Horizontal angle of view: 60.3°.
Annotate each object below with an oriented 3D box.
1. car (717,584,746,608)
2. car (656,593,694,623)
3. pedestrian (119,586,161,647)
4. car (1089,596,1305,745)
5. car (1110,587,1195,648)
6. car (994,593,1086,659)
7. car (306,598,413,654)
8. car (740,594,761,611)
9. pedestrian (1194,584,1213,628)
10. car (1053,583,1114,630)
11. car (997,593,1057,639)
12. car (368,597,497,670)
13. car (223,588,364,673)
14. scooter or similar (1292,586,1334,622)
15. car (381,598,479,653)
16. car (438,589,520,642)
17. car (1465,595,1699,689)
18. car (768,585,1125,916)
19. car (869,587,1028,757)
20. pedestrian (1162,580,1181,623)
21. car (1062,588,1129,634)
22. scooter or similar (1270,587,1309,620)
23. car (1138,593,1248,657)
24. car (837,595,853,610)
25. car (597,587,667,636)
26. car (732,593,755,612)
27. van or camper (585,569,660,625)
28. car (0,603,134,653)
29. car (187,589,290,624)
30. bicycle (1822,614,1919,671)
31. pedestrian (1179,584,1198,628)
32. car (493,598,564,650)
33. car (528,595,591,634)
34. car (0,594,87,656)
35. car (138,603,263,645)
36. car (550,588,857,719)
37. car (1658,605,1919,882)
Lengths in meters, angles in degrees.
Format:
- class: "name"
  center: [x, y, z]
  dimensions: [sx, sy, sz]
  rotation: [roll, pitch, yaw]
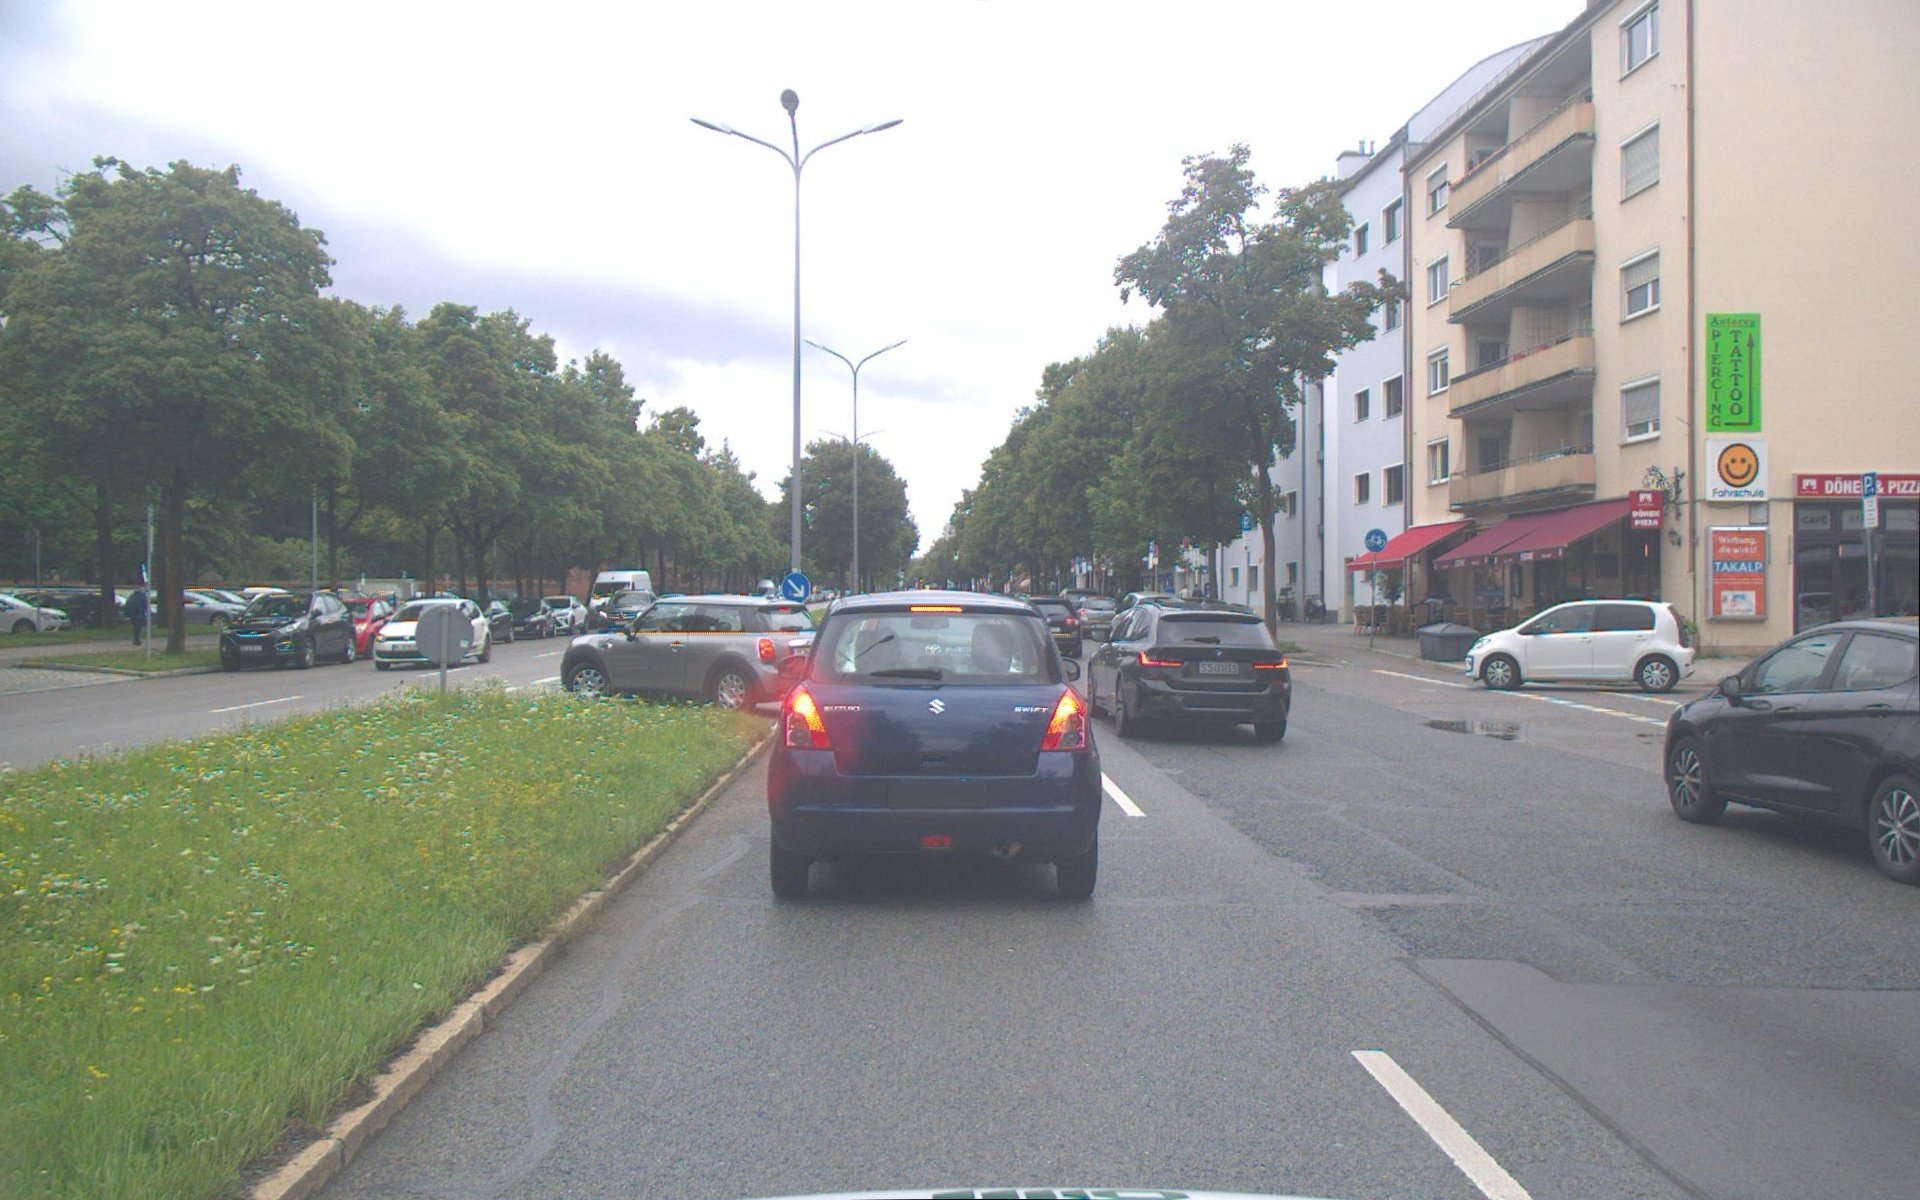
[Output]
- class: "car"
  center: [-16.134, -0.270, 116.793]
  dimensions: [1.599, 1.610, 3.877]
  rotation: [1, 0, -2]
- class: "car"
  center: [-16.122, 0.432, 93.767]
  dimensions: [1.599, 1.610, 3.877]
  rotation: [1, 0, -2]
- class: "pedestrian"
  center: [-21.500, 0.431, 43.369]
  dimensions: [0.713, 1.561, 0.721]
  rotation: [1, 0, -1]
- class: "car"
  center: [2.570, 0.712, 18.966]
  dimensions: [1.723, 1.438, 4.461]
  rotation: [1, 0, -1]
- class: "car"
  center: [5.310, 0.451, 46.082]
  dimensions: [1.756, 1.585, 4.223]
  rotation: [-1, 1, -2]
- class: "car"
  center: [1.906, 0.591, 40.523]
  dimensions: [1.697, 1.457, 4.438]
  rotation: [1, 0, -4]
- class: "car"
  center: [-15.164, 0.632, 41.908]
  dimensions: [1.559, 1.335, 3.379]
  rotation: [1, 0, -2]
- class: "car"
  center: [-19.831, 0.215, 156.627]
  dimensions: [1.599, 1.610, 3.877]
  rotation: [1, 0, -2]
- class: "pedestrian"
  center: [11.660, 0.282, 79.217]
  dimensions: [0.778, 2.049, 1.006]
  rotation: [0, 0, -1]
- class: "car"
  center: [4.711, 0.216, 63.738]
  dimensions: [1.828, 1.712, 4.222]
  rotation: [-1, 1, -3]
- class: "car"
  center: [2.156, 0.497, 53.970]
  dimensions: [1.648, 1.408, 3.917]
  rotation: [1, 0, -2]
- class: "car"
  center: [-11.207, 0.671, 35.360]
  dimensions: [1.586, 1.399, 3.836]
  rotation: [-2, 0, -2]
- class: "car"
  center: [-14.793, 0.642, 36.921]
  dimensions: [1.682, 1.771, 3.877]
  rotation: [1, 0, -2]
- class: "scooter or similar"
  center: [13.577, 0.137, 63.748]
  dimensions: [1.012, 1.330, 2.755]
  rotation: [0, 0, -1]
- class: "car"
  center: [-14.997, 0.692, 47.021]
  dimensions: [1.634, 1.471, 3.877]
  rotation: [1, 0, -2]
- class: "car"
  center: [-15.170, 0.474, 52.367]
  dimensions: [1.559, 1.585, 3.877]
  rotation: [1, 0, -2]
- class: "car"
  center: [10.260, 0.651, 27.271]
  dimensions: [3.478, 1.442, 1.870]
  rotation: [0, 1, 25]
- class: "car"
  center: [-0.135, 0.680, 9.613]
  dimensions: [1.648, 1.528, 3.917]
  rotation: [0, 0, -2]
- class: "car"
  center: [-0.159, 0.630, 16.316]
  dimensions: [1.415, 1.509, 3.105]
  rotation: [0, 0, -2]
- class: "pedestrian"
  center: [10.059, 0.069, 78.691]
  dimensions: [0.778, 2.049, 1.006]
  rotation: [0, 0, -1]
- class: "car"
  center: [4.791, 0.356, 58.912]
  dimensions: [1.828, 1.544, 4.222]
  rotation: [-1, 1, -3]
- class: "scooter or similar"
  center: [13.308, 0.127, 66.843]
  dimensions: [1.012, 1.330, 2.755]
  rotation: [0, 0, -1]
- class: "car"
  center: [5.696, 0.578, 40.895]
  dimensions: [1.829, 1.442, 4.221]
  rotation: [-1, 1, -4]
- class: "car"
  center: [-12.481, 0.274, 179.071]
  dimensions: [1.599, 1.580, 3.877]
  rotation: [1, 0, -2]
- class: "car"
  center: [-11.899, 0.381, 60.255]
  dimensions: [1.731, 1.651, 4.505]
  rotation: [-2, 0, -2]
- class: "car"
  center: [-19.196, 0.244, 146.822]
  dimensions: [1.599, 1.610, 3.877]
  rotation: [1, 0, -2]
- class: "van or camper"
  center: [-15.876, -0.140, 78.247]
  dimensions: [2.074, 2.525, 7.448]
  rotation: [1, 0, 0]
- class: "car"
  center: [-27.937, 0.849, 51.256]
  dimensions: [3.792, 1.471, 1.670]
  rotation: [1, 0, -7]
- class: "car"
  center: [-31.789, 0.284, 72.977]
  dimensions: [3.792, 1.471, 1.670]
  rotation: [1, 0, -7]
- class: "bicycle"
  center: [16.326, 0.745, 29.337]
  dimensions: [1.810, 0.974, 0.557]
  rotation: [1, 0, -3]
- class: "pedestrian"
  center: [10.859, 0.272, 78.673]
  dimensions: [0.778, 2.049, 1.006]
  rotation: [0, 0, -1]
- class: "car"
  center: [-15.276, 0.829, 58.741]
  dimensions: [1.599, 1.771, 3.877]
  rotation: [1, 0, -2]
- class: "car"
  center: [-15.487, 0.550, 64.072]
  dimensions: [1.599, 1.456, 3.877]
  rotation: [1, 0, -2]
- class: "car"
  center: [-27.998, 0.710, 48.504]
  dimensions: [3.844, 1.748, 1.670]
  rotation: [1, 0, -7]
- class: "car"
  center: [-27.955, 0.885, 60.966]
  dimensions: [3.792, 1.471, 1.670]
  rotation: [1, 0, -7]
- class: "car"
  center: [-3.253, 0.608, 20.747]
  dimensions: [3.656, 1.488, 1.682]
  rotation: [1, 0, 34]
- class: "car"
  center: [6.006, 0.810, 10.387]
  dimensions: [1.584, 1.491, 3.673]
  rotation: [2, 0, -1]
